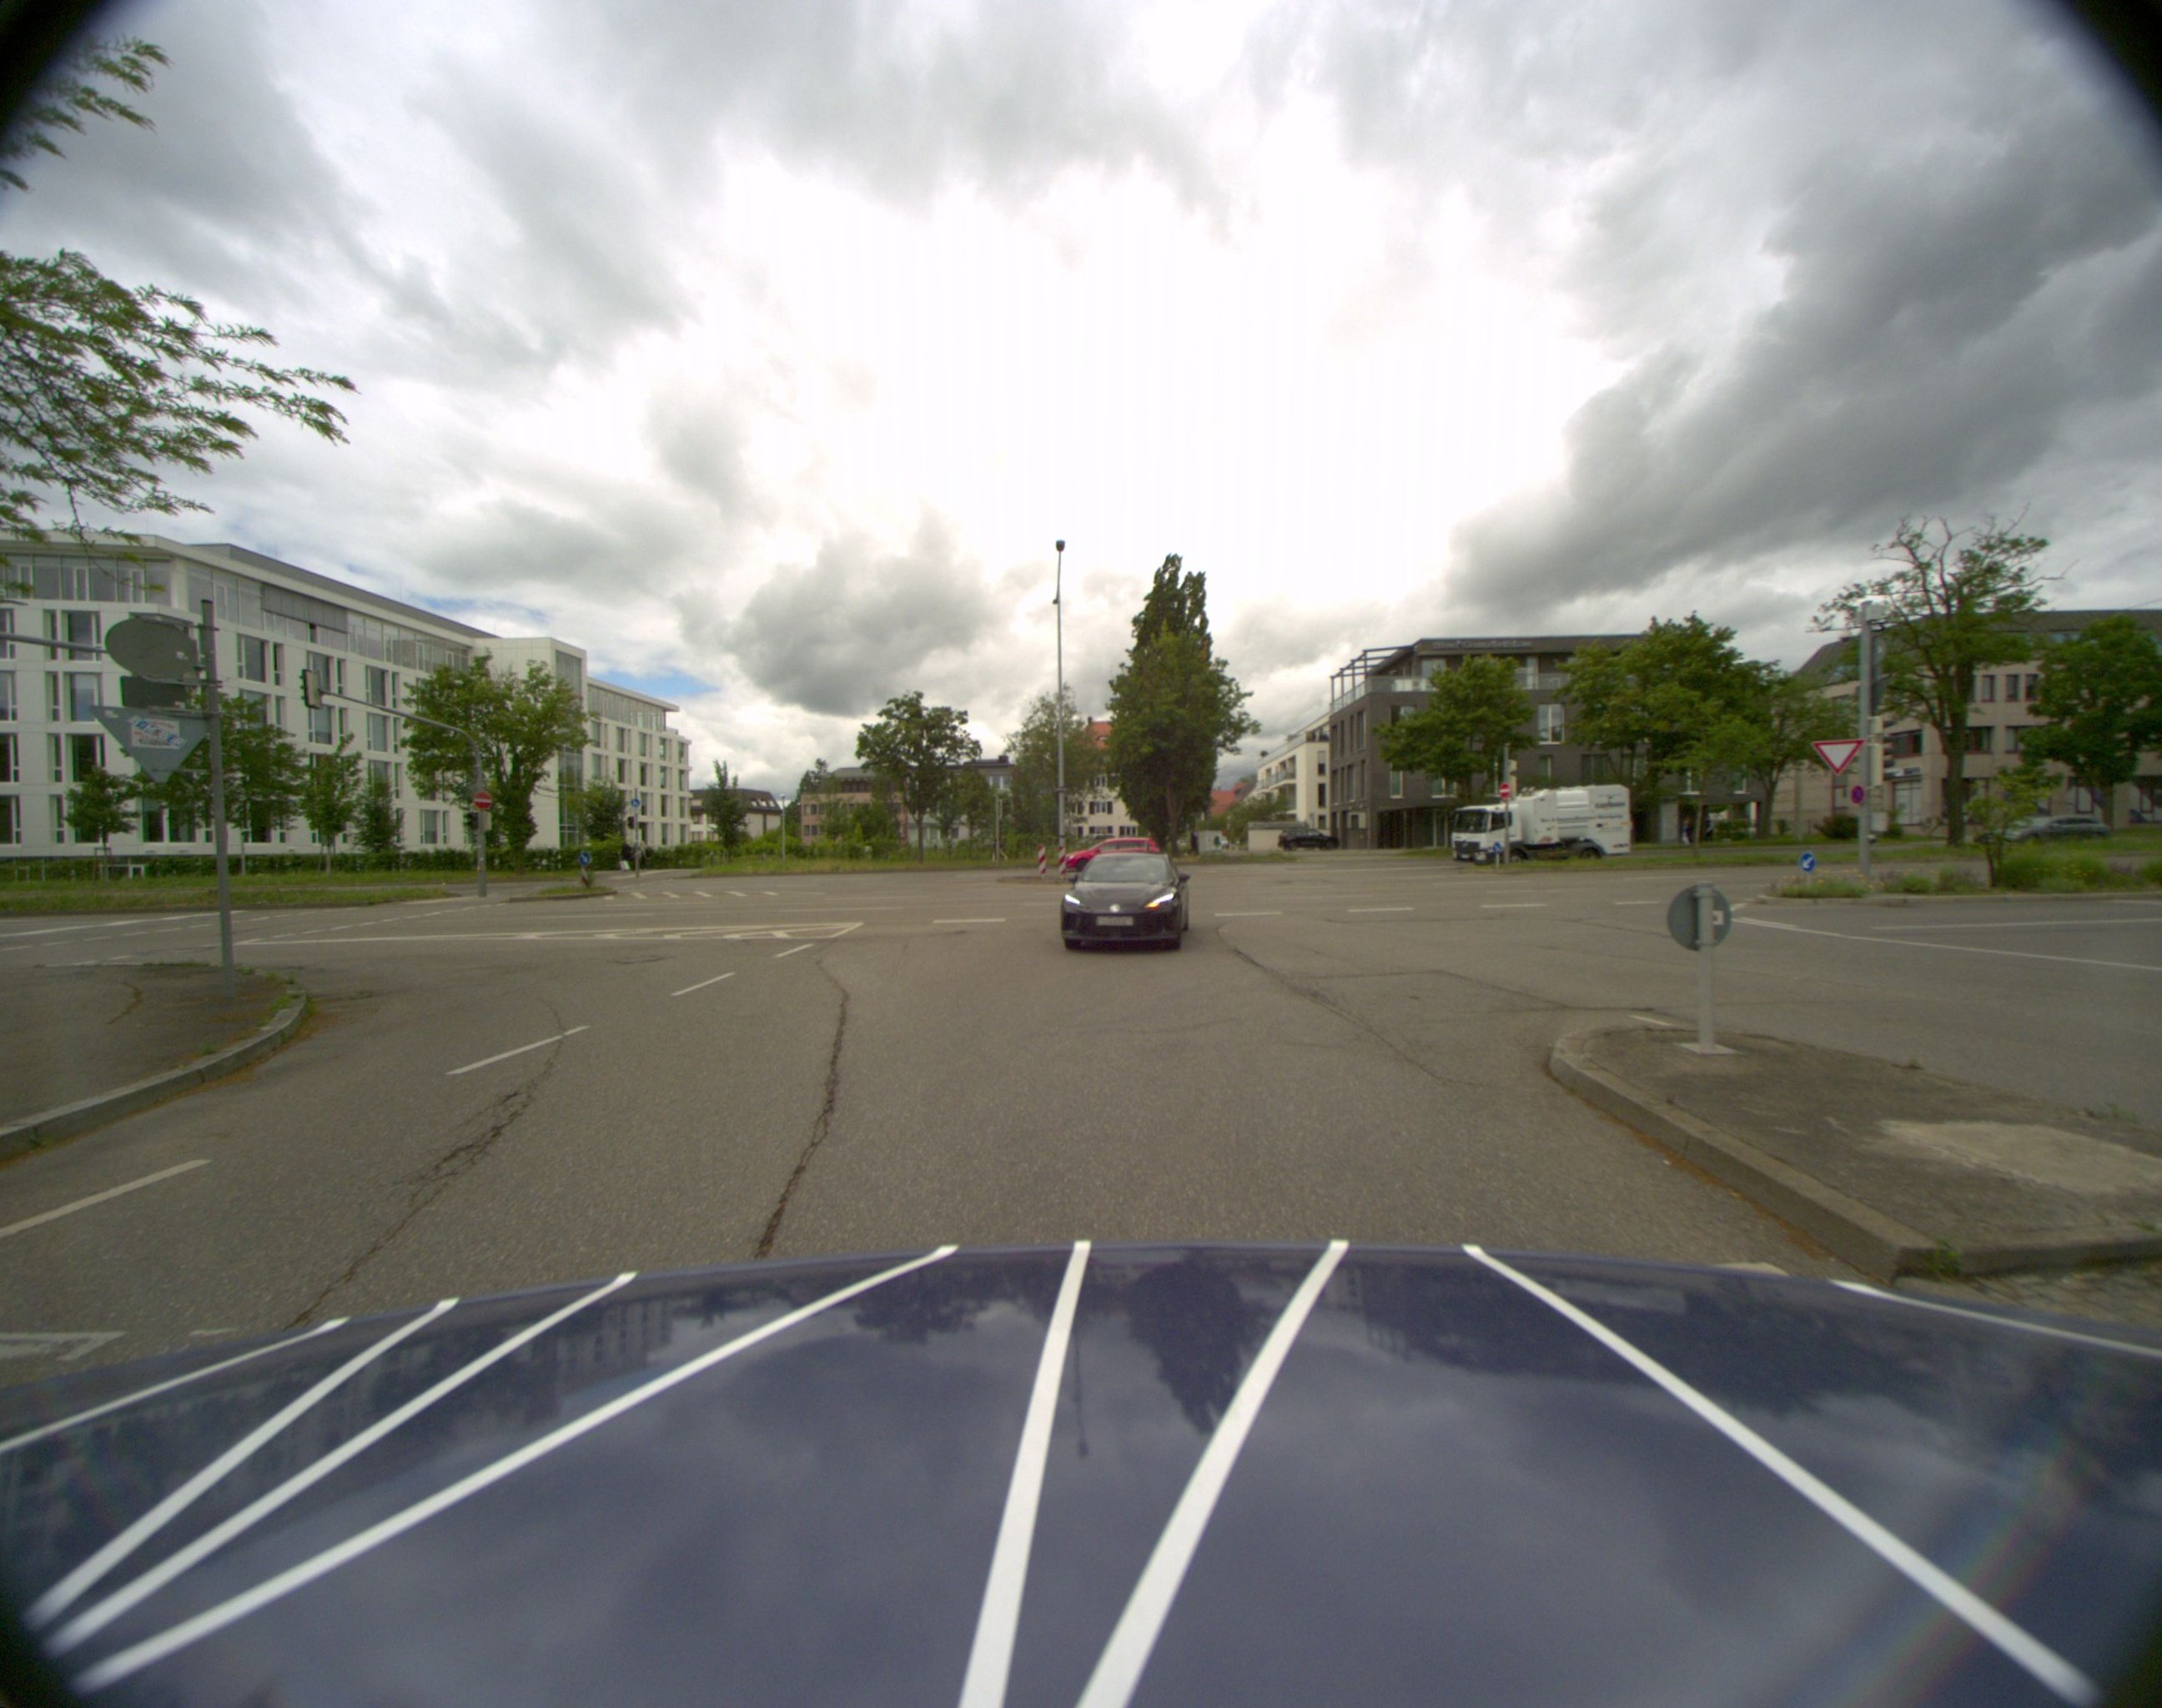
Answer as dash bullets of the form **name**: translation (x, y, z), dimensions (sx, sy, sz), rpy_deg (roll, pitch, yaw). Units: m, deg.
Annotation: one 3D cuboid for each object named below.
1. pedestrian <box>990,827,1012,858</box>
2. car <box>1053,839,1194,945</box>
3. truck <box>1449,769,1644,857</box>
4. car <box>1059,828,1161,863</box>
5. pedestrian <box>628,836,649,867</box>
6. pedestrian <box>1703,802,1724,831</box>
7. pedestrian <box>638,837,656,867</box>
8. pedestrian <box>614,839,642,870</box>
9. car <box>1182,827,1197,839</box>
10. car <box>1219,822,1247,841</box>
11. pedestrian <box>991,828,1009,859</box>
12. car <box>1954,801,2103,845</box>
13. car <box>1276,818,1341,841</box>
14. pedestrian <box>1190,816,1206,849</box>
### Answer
- **pedestrian**: translation (-4.470, -0.620, 42.420), dimensions (1.003, 1.686, 0.607), rpy_deg (-3, 1, -16)
- **car**: translation (0.888, 0.495, 12.760), dimensions (1.798, 1.475, 4.022), rpy_deg (0, 2, 11)
- **truck**: translation (18.447, -1.638, 30.316), dimensions (6.465, 3.178, 2.435), rpy_deg (-2, 4, -6)
- **car**: translation (1.282, -0.424, 34.819), dimensions (4.355, 1.415, 1.998), rpy_deg (-2, 2, -7)
- **pedestrian**: translation (-24.001, -0.133, 41.192), dimensions (0.707, 1.616, 0.566), rpy_deg (-3, 1, 24)
- **pedestrian**: translation (36.608, -2.158, 43.998), dimensions (0.598, 1.611, 0.693), rpy_deg (-3, 1, -1)
- **pedestrian**: translation (-23.963, -0.123, 41.967), dimensions (0.689, 1.616, 0.660), rpy_deg (-4, 1, -41)
- **pedestrian**: translation (-24.092, 0.024, 40.389), dimensions (1.032, 1.616, 0.735), rpy_deg (-3, 1, 24)
- **car**: translation (15.627, -3.046, 109.323), dimensions (1.955, 1.543, 3.966), rpy_deg (-3, 0, 7)
- **car**: translation (15.162, -2.230, 76.033), dimensions (1.876, 1.630, 3.828), rpy_deg (-3, 0, -1)
- **pedestrian**: translation (-4.605, -0.607, 43.035), dimensions (0.833, 1.686, 0.615), rpy_deg (-3, 1, -16)
- **car**: translation (43.131, -1.378, 34.653), dimensions (4.602, 1.685, 1.999), rpy_deg (-3, 0, -5)
- **car**: translation (16.477, -1.776, 55.154), dimensions (4.121, 1.591, 2.000), rpy_deg (0, 0, 2)
- **pedestrian**: translation (6.525, -1.208, 42.254), dimensions (0.750, 1.787, 0.671), rpy_deg (-3, 1, 5)
